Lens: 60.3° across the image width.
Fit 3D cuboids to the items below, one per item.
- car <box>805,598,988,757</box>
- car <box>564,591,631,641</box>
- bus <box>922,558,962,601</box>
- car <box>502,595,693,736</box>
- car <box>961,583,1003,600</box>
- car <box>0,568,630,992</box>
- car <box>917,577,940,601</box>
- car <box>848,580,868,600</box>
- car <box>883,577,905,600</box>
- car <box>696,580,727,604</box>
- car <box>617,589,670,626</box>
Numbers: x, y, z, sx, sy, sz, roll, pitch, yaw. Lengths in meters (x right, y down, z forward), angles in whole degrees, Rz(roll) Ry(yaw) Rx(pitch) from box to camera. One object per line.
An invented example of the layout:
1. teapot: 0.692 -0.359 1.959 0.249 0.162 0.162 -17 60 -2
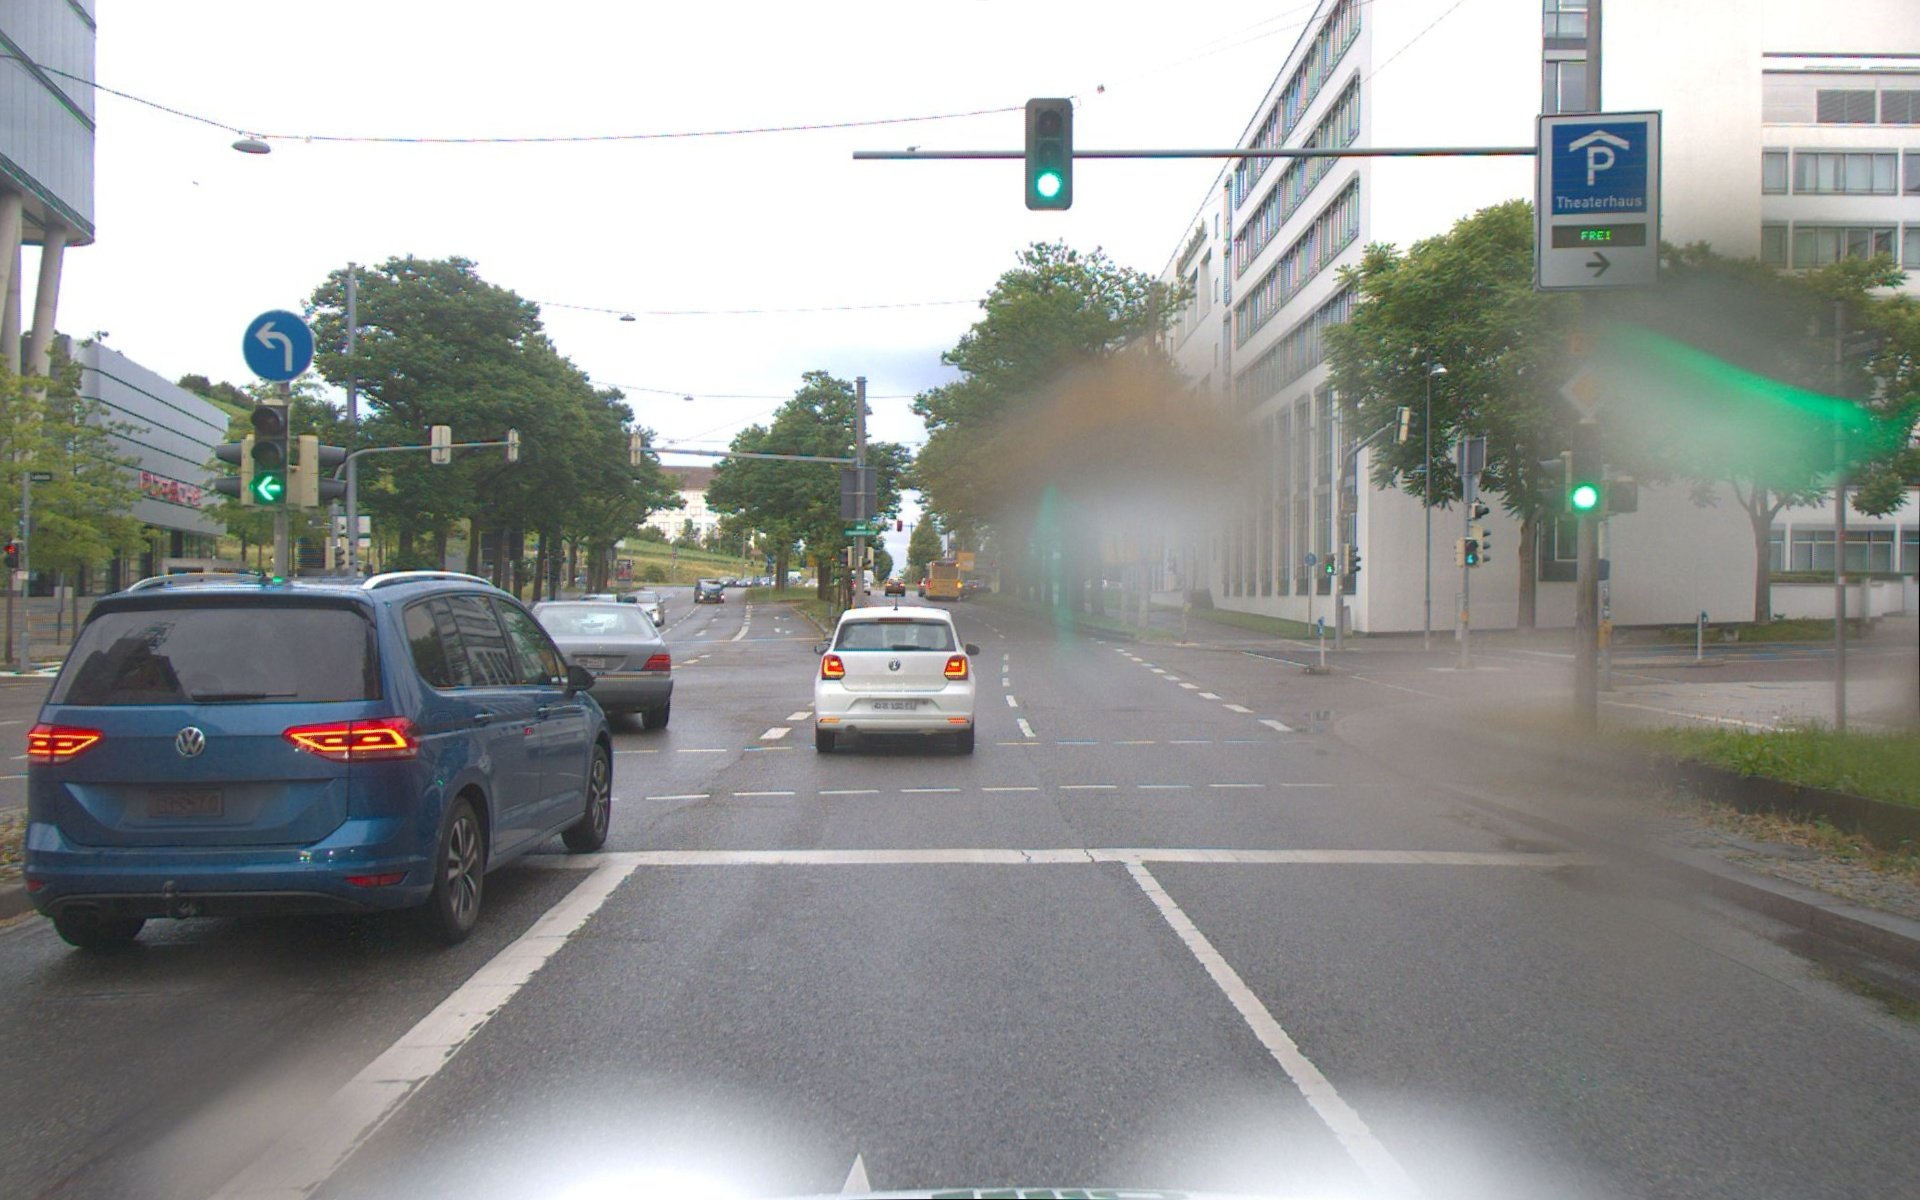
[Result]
1. car: -0.675 0.757 18.032 1.758 1.528 3.998 1 0 -2
2. car: -11.978 0.491 54.809 1.716 1.547 3.812 -1 1 -6
3. bus: -1.520 -1.718 135.187 2.772 3.323 9.995 1 1 -3
4. car: -4.564 0.729 20.395 1.819 1.537 4.025 -1 0 -19
5. car: 1.946 -0.748 147.505 1.670 1.542 3.805 0 0 42
6. car: -2.982 0.697 8.492 1.736 1.624 4.197 -1 0 0
7. car: -2.833 -0.978 148.718 1.954 2.049 3.997 0 0 -3
8. car: -9.173 -0.883 148.880 1.759 1.772 3.997 0 0 -4
9. car: -5.901 -1.011 147.361 1.954 2.049 3.997 0 0 -3
10. car: -17.870 -0.592 119.063 1.956 1.644 5.113 -2 1 -7
11. car: -13.448 0.282 70.424 1.779 1.436 4.650 -1 1 -6
